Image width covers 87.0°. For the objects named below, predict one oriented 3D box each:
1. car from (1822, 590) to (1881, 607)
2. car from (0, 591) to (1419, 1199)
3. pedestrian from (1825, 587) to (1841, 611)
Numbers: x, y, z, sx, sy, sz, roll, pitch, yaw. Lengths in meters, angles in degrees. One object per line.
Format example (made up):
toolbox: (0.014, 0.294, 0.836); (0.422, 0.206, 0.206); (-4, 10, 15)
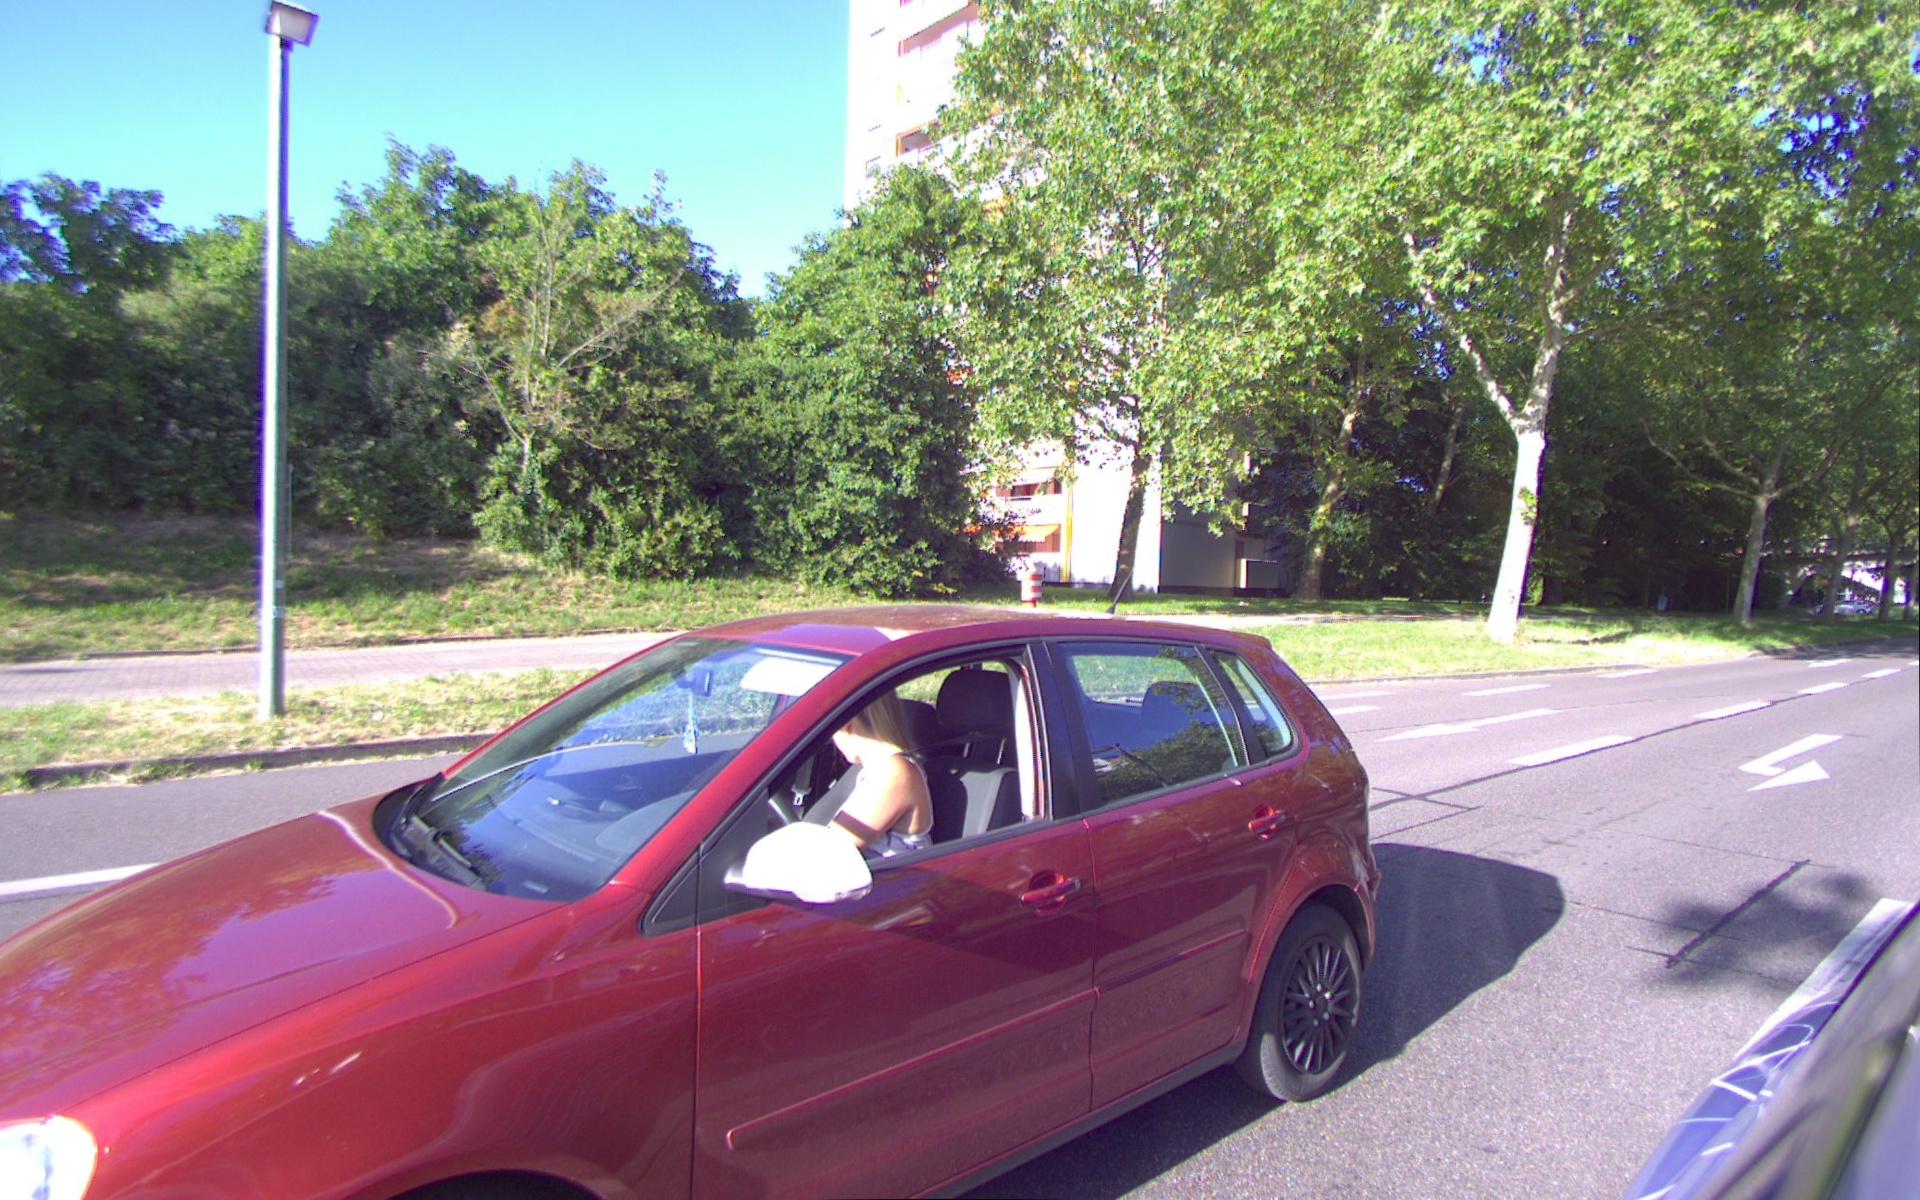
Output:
car: (80.746, -0.127, 91.686); (3.983, 1.493, 1.772); (0, 0, 42)
car: (-0.430, 0.711, 2.787); (3.694, 1.456, 1.645); (-1, 1, -40)
pedestrian: (73.921, -0.070, 85.710); (0.945, 2.039, 0.918); (0, 0, -41)
